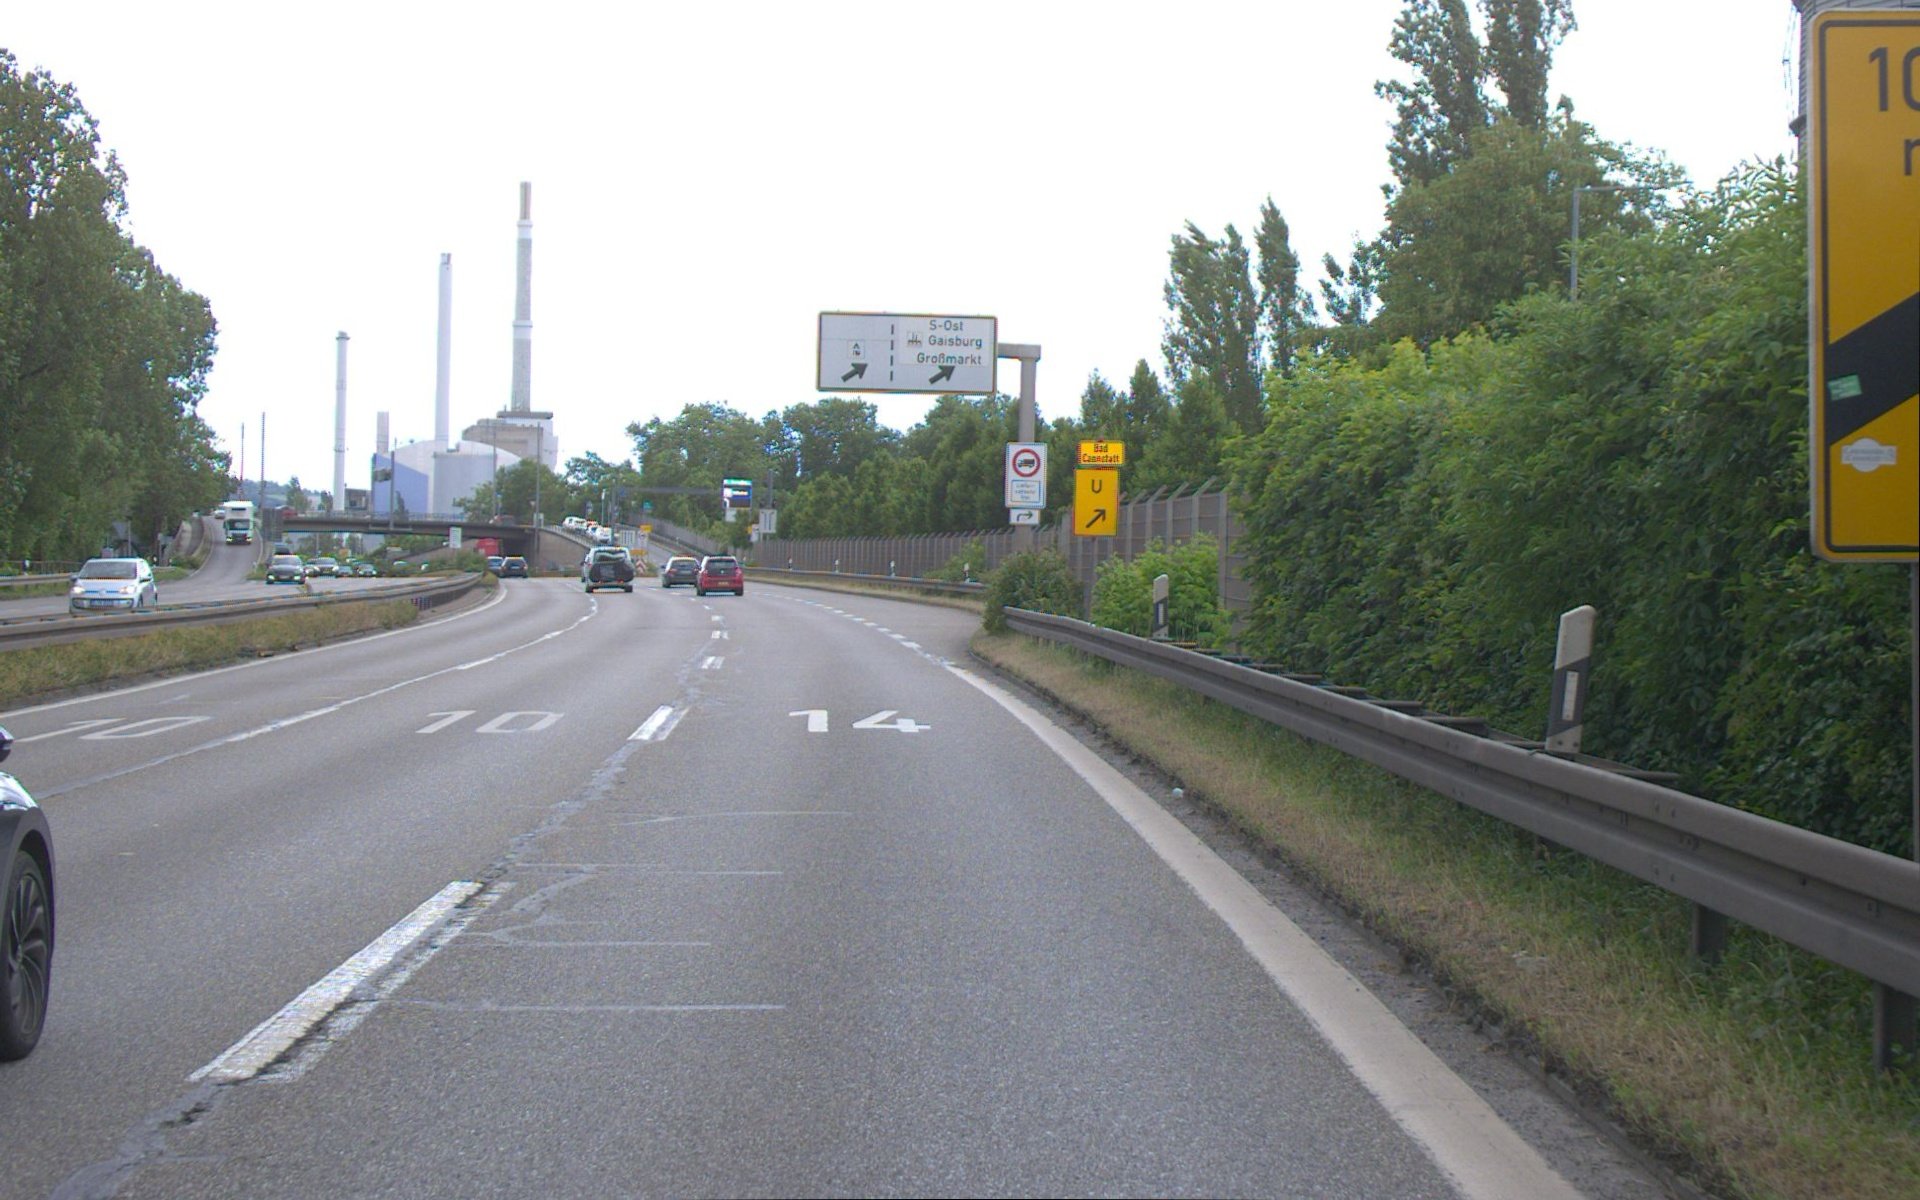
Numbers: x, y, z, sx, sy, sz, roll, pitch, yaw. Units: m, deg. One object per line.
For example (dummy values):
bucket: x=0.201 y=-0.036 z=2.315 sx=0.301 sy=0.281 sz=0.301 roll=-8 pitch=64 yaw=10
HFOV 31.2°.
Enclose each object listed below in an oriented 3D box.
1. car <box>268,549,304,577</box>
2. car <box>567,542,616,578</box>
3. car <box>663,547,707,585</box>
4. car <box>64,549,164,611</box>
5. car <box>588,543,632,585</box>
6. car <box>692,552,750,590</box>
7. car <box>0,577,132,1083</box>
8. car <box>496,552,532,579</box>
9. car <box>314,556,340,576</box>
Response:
car: x=-34.678 y=-1.891 z=176.990 sx=1.697 sy=1.408 sz=4.639 roll=0 pitch=1 yaw=-9
car: x=-20.081 y=-2.167 z=187.272 sx=2.013 sy=1.927 sz=4.902 roll=0 pitch=1 yaw=-14
car: x=-12.954 y=-1.607 z=161.734 sx=1.697 sy=1.736 sz=4.394 roll=0 pitch=1 yaw=-9
car: x=-19.917 y=-0.485 z=81.063 sx=1.614 sy=1.381 sz=3.733 roll=1 pitch=1 yaw=-4
car: x=-14.558 y=-1.514 z=142.781 sx=1.697 sy=1.736 sz=4.001 roll=0 pitch=1 yaw=-7
car: x=-9.299 y=-1.139 z=133.378 sx=1.974 sy=1.418 sz=4.902 roll=0 pitch=1 yaw=-7
car: x=-3.633 y=0.658 z=8.792 sx=1.845 sy=1.418 sz=4.901 roll=2 pitch=1 yaw=0
car: x=-29.734 y=-2.320 z=229.159 sx=1.697 sy=1.736 sz=4.394 roll=0 pitch=1 yaw=-16
car: x=-45.984 y=-2.472 z=249.854 sx=1.697 sy=1.408 sz=4.639 roll=0 pitch=1 yaw=-8
